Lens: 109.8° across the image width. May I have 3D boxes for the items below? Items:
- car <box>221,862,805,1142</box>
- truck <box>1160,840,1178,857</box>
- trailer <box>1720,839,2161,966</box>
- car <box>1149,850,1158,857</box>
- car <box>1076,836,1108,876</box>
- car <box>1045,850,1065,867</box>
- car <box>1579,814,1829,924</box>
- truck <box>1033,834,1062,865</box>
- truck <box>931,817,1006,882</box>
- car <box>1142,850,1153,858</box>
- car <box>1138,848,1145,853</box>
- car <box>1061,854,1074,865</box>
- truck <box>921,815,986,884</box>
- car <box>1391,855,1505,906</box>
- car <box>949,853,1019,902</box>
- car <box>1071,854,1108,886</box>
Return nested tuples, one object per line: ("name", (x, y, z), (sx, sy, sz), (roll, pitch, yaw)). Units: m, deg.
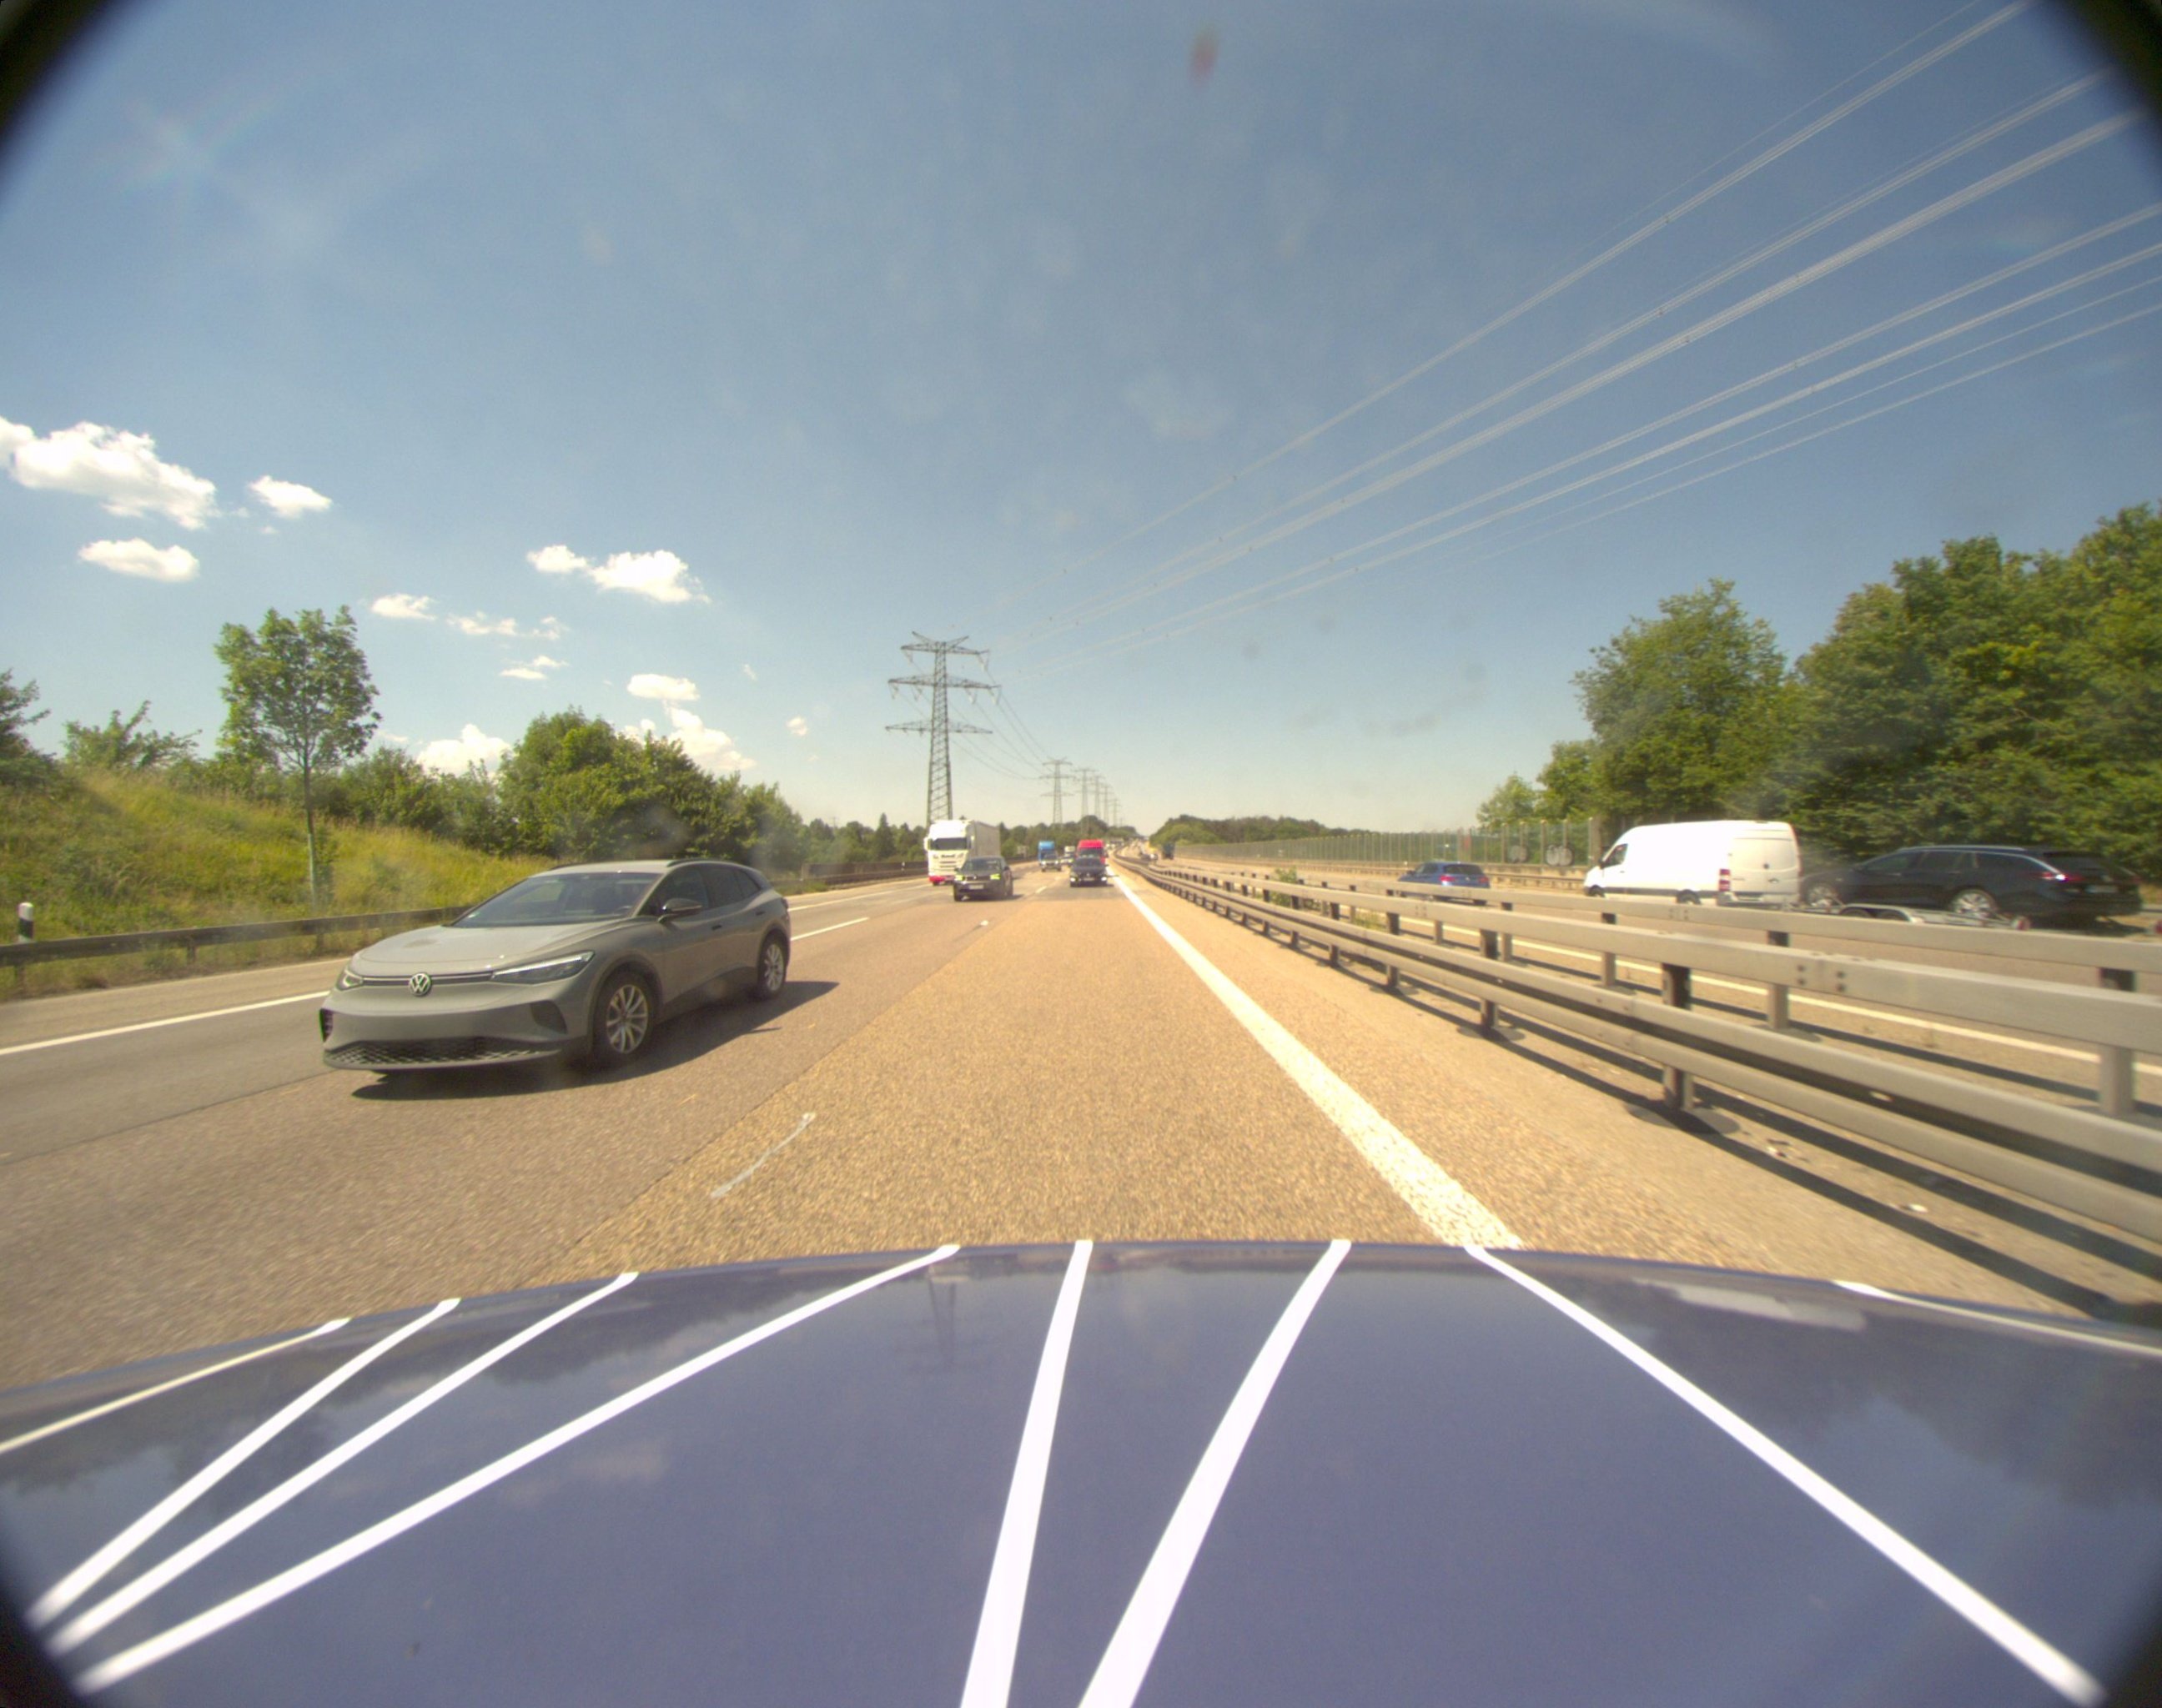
("car", (-4.416, 0.966, 7.091), (1.873, 1.627, 4.585), (-2, 0, 1))
("truck", (21.896, -1.426, 190.209), (3.315, 4.114, 11.091), (1, 0, 1))
("trailer", (16.906, 0.743, 15.041), (2.771, 1.934, 6.723), (1, 0, 0))
("car", (17.086, -0.080, 178.788), (1.786, 1.596, 4.047), (0, 0, -1))
("car", (0.784, 0.114, 51.630), (2.100, 2.598, 4.496), (0, 1, 1))
("car", (-2.613, 0.441, 76.274), (1.749, 1.691, 4.088), (0, 0, 1))
("car", (17.137, 0.354, 21.511), (2.115, 2.624, 6.003), (1, 0, 0))
("truck", (-5.640, -0.745, 131.538), (3.797, 4.971, 14.923), (-2, 0, 1))
("truck", (-7.568, -0.314, 53.156), (3.076, 3.885, 12.504), (-2, 0, 1))
("car", (12.545, 0.014, 144.099), (1.786, 1.465, 4.489), (0, 0, 0))
("car", (20.272, -1.096, 255.828), (1.955, 1.557, 4.047), (0, 0, 1))
("car", (-2.003, 0.804, 113.031), (1.879, 1.591, 3.688), (0, 0, 1))
("truck", (-7.686, -0.288, 46.164), (3.076, 3.885, 3.847), (-2, 0, 1))
("car", (12.231, 0.828, 25.660), (1.786, 1.465, 4.354), (2, 0, 1))
("car", (-3.584, 0.827, 28.766), (1.955, 1.636, 4.047), (-2, 0, 1))
("car", (0.447, 0.762, 38.114), (1.735, 1.535, 3.750), (0, 0, 1))
